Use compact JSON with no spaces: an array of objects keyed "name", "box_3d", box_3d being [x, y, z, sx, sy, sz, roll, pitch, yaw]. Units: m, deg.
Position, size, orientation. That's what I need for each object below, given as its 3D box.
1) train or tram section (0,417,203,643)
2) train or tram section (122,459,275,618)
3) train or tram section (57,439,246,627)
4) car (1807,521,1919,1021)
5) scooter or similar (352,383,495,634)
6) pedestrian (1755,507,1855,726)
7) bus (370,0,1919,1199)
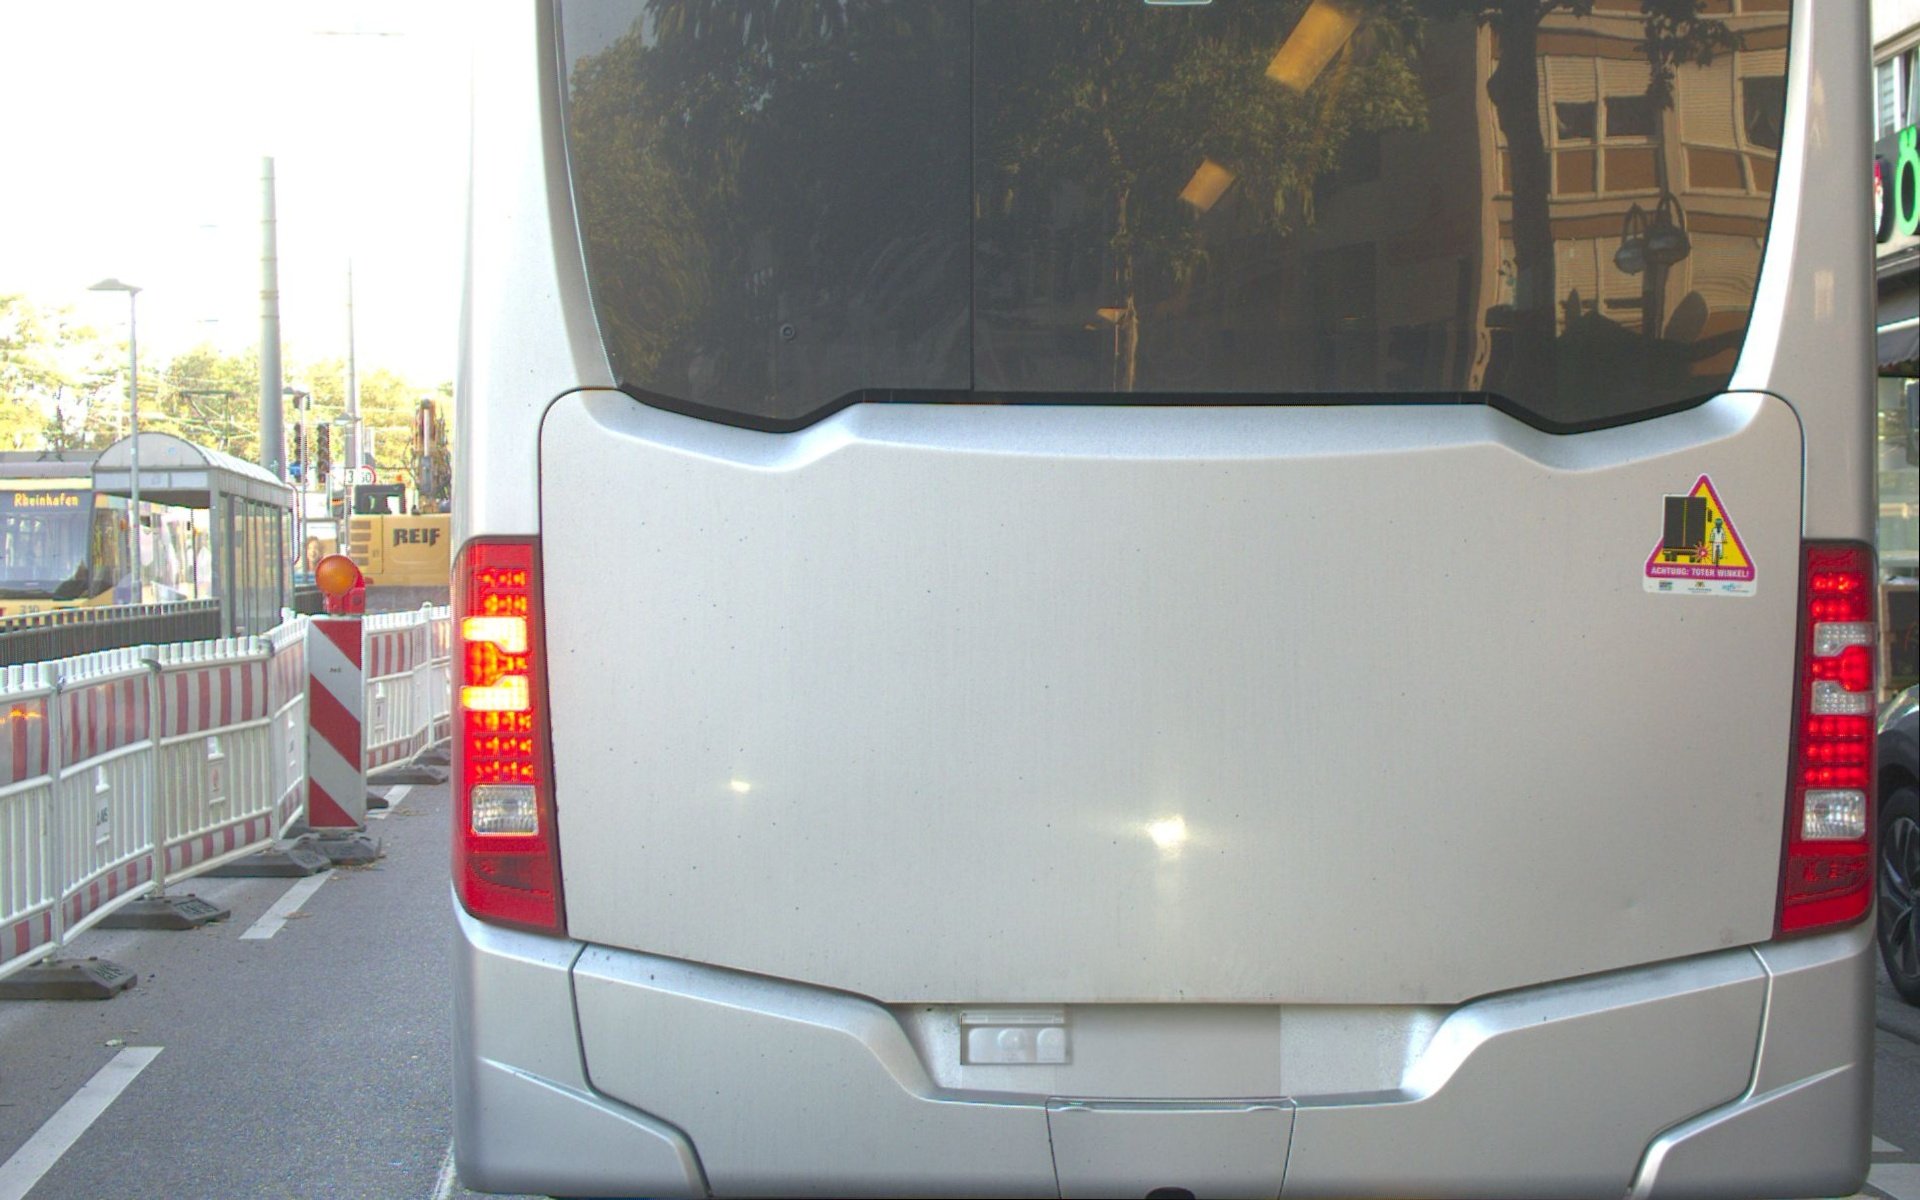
[{"name":"train or tram section","box_3d":[-15.250,-1.167,59.846,2.686,3.521,11.774,1,1,-6]},{"name":"train or tram section","box_3d":[-18.216,-1.436,82.862,2.686,3.521,11.585,1,1,-8]},{"name":"train or tram section","box_3d":[-16.632,-1.342,71.395,2.686,3.546,11.585,1,1,-8]},{"name":"car","box_3d":[4.126,0.528,9.705,1.993,1.576,4.369,-3,1,-5]},{"name":"scooter or similar","box_3d":[-9.978,-1.674,64.389,2.468,4.455,5.974,-1,1,-8]},{"name":"pedestrian","box_3d":[6.562,0.123,26.688,0.664,1.661,0.600,-2,0,16]},{"name":"bus","box_3d":[0.325,-0.171,9.599,2.611,3.115,7.993,1,1,-1]}]
